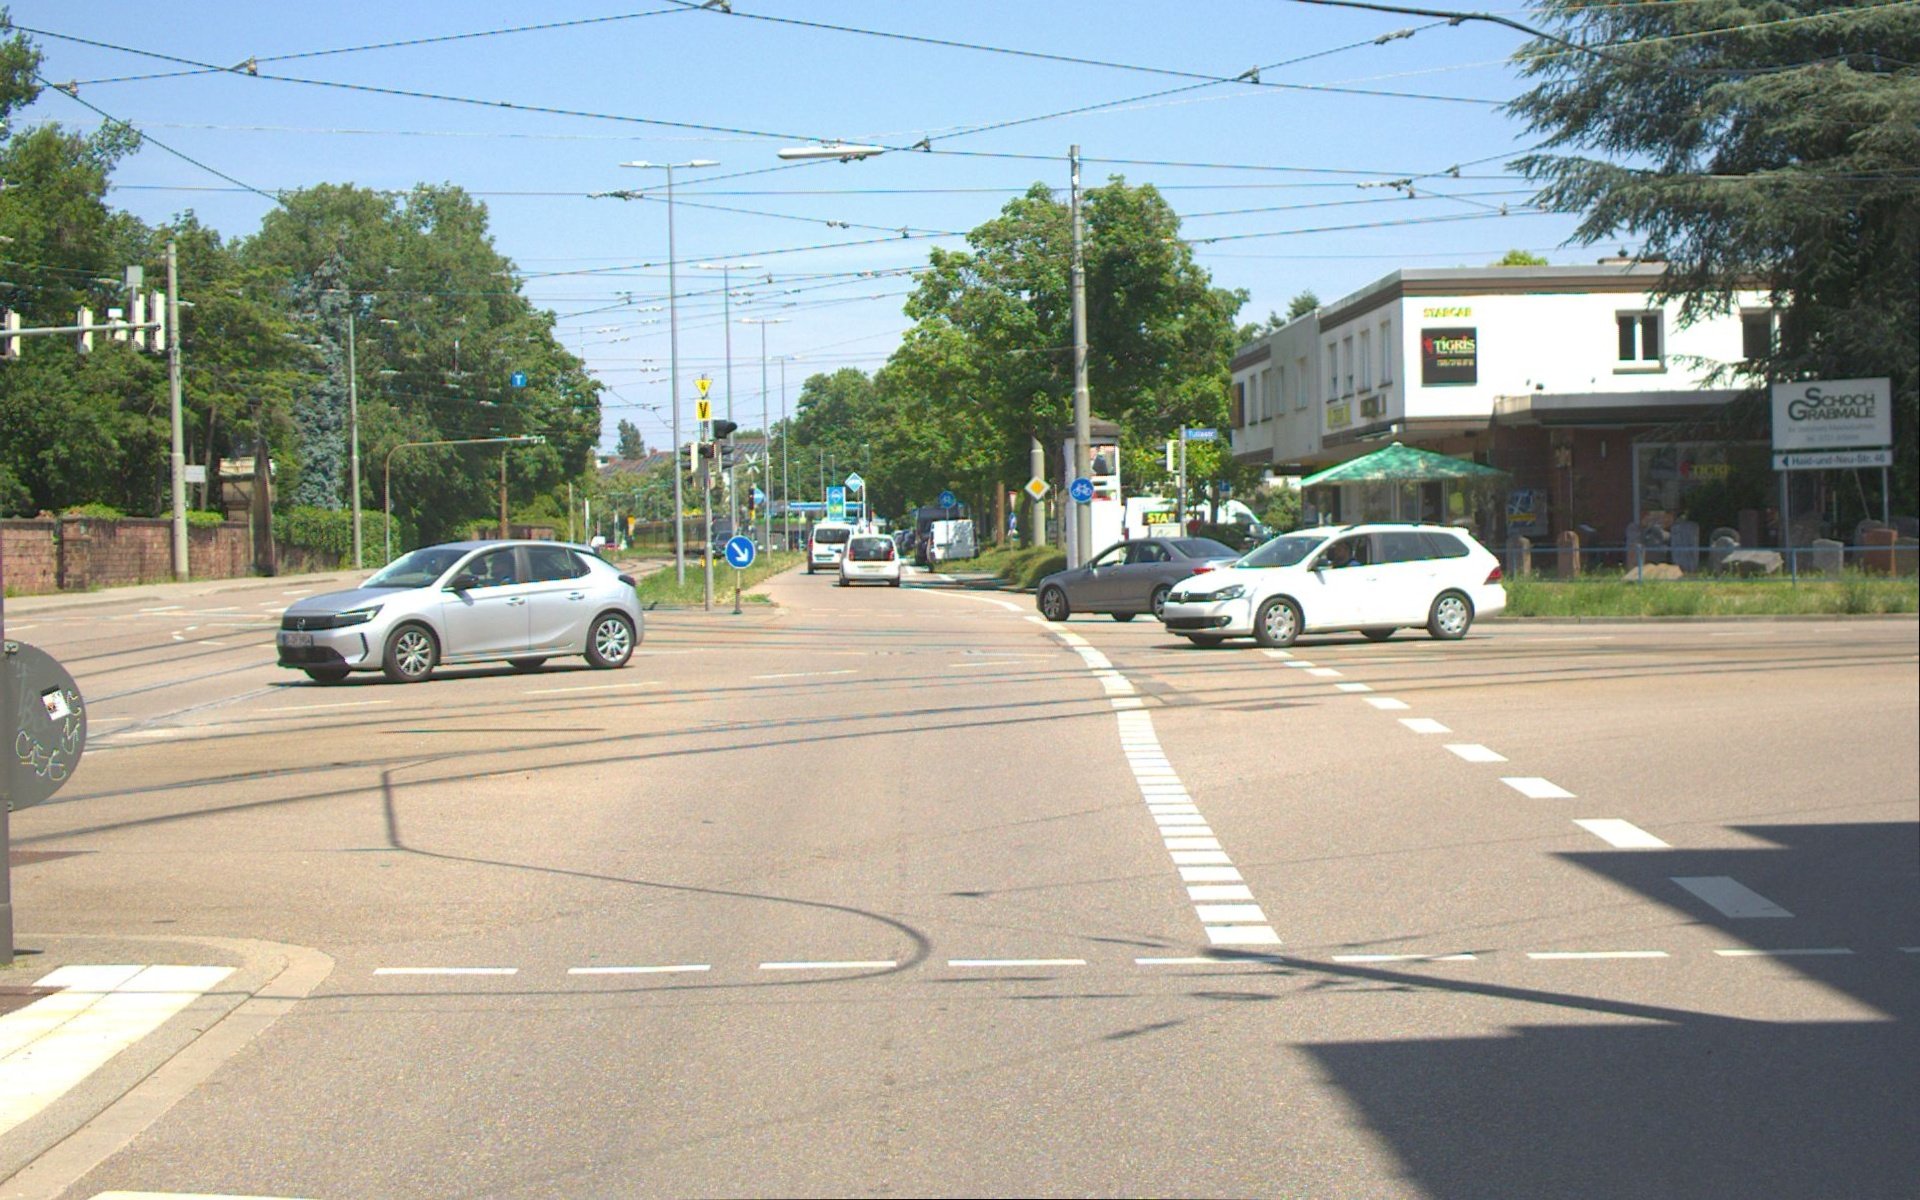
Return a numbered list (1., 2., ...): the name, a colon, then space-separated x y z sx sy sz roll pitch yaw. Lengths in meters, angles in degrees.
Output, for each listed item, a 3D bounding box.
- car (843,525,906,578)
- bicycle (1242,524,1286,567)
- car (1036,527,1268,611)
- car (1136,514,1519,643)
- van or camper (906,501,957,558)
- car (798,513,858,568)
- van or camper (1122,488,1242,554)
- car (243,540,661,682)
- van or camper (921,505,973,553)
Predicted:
1. car: -2.389 -1.386 96.696 1.670 1.430 3.475 -1 1 0
2. bicycle: 7.472 -1.342 84.484 1.034 1.011 2.636 -1 1 6
3. car: 3.192 -0.523 57.628 1.637 1.346 3.840 -2 2 -42
4. car: 4.593 -0.293 42.812 4.484 1.484 1.824 -2 1 -29
5. van or camper: -1.263 -3.121 152.818 1.993 2.456 4.001 -1 1 -4
6. car: -4.617 -2.085 119.828 1.993 1.853 4.001 -1 1 -3
7. van or camper: 9.246 -3.293 143.371 4.756 2.662 2.136 -1 1 -3
8. car: -5.335 0.080 36.393 4.040 1.358 1.823 -2 2 -42
9. van or camper: -0.502 -2.690 130.352 1.922 1.766 4.000 -1 1 -1
